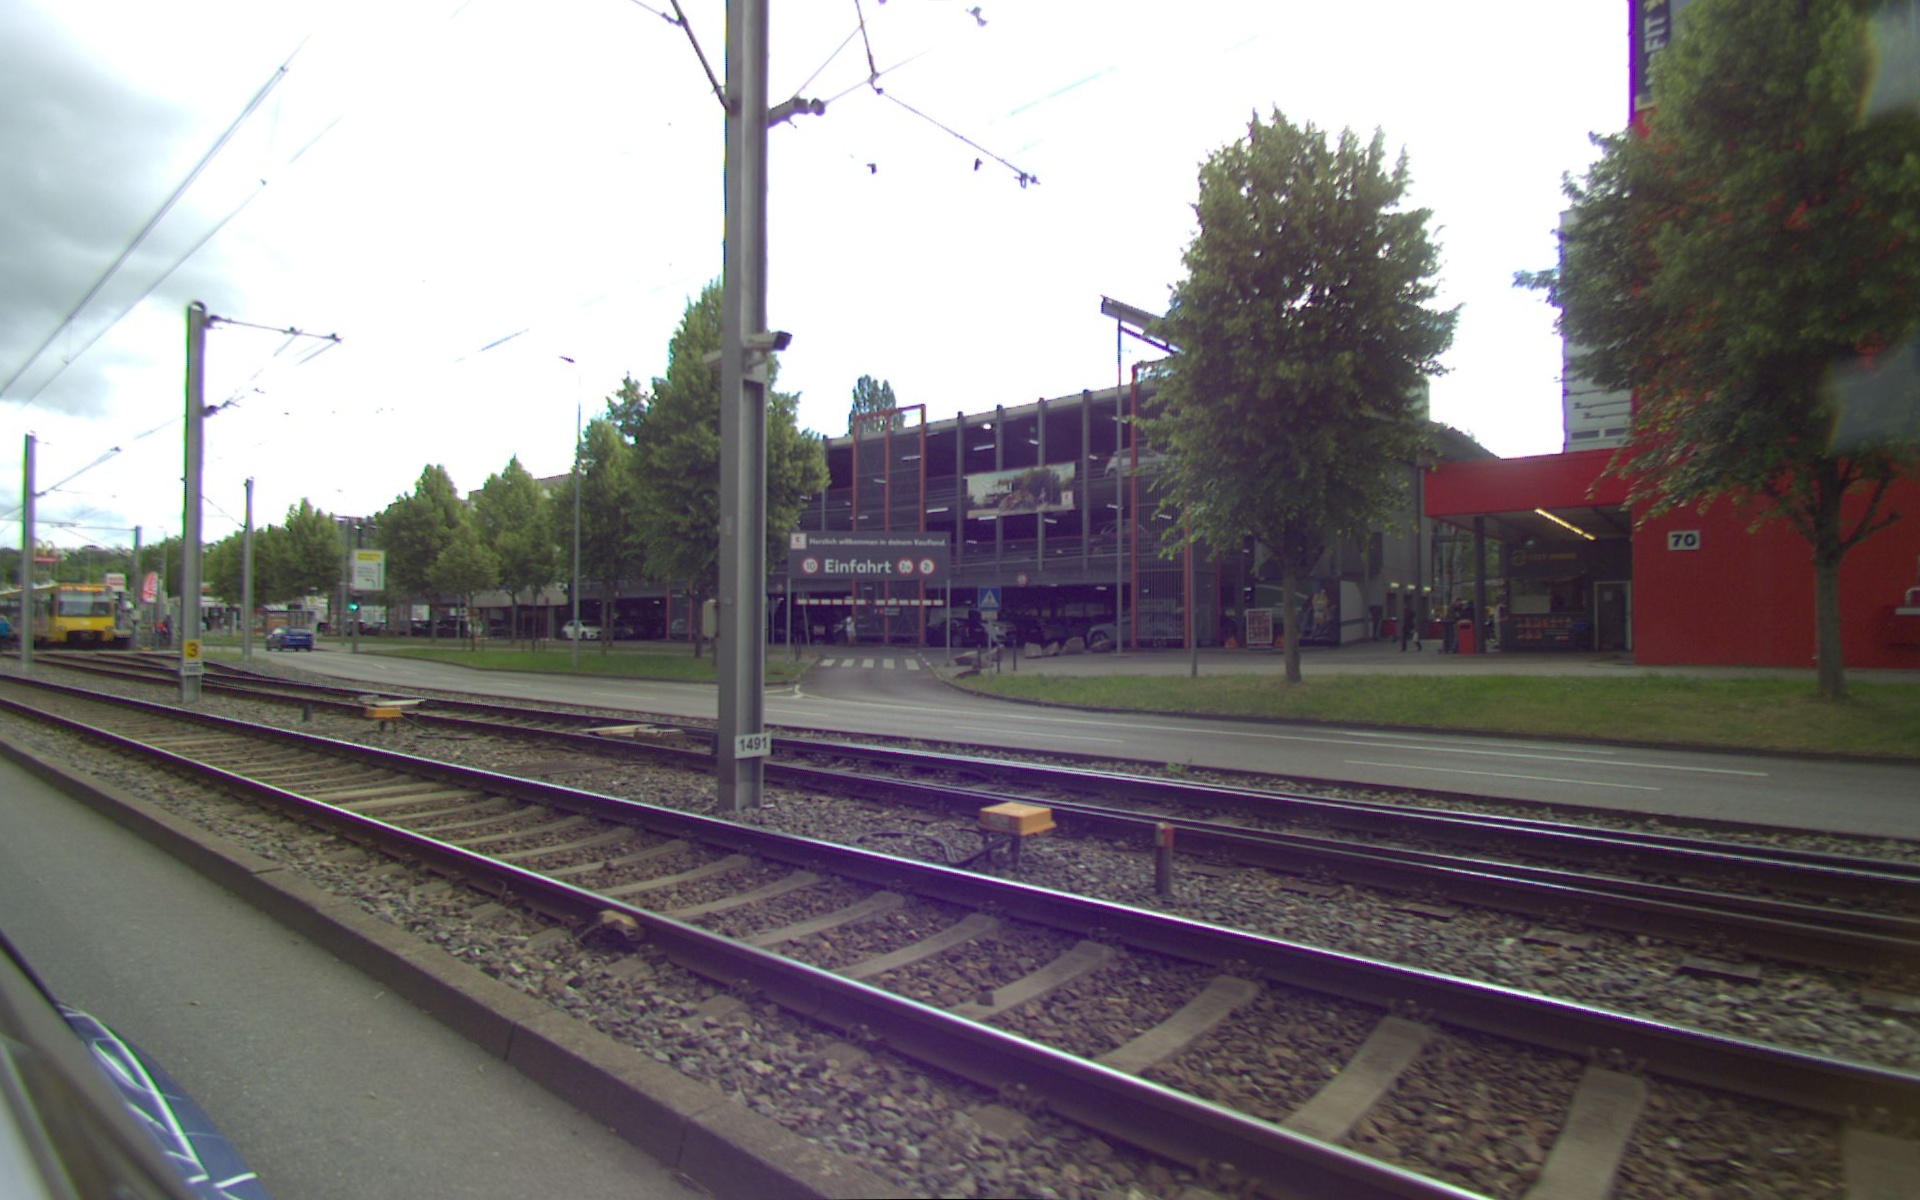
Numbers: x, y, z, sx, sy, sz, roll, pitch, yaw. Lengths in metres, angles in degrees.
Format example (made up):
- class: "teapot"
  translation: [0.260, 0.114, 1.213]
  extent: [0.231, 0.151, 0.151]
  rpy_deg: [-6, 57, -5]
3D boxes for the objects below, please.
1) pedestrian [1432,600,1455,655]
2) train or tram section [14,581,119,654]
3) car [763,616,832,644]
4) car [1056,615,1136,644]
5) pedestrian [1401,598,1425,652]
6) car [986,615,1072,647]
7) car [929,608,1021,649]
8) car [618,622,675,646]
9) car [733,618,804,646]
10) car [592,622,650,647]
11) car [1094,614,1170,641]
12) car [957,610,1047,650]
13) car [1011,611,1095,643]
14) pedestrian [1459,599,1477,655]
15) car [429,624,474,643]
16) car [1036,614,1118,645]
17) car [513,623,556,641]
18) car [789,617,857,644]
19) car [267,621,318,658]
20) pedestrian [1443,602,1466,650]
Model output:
- class: "pedestrian"
  translation: [16.052, 0.924, 33.590]
  extent: [0.597, 1.811, 0.372]
  rpy_deg: [-2, -2, 43]
- class: "train or tram section"
  translation: [-51.128, 1.057, 57.684]
  extent: [13.780, 3.804, 2.742]
  rpy_deg: [-2, -2, 41]
- class: "car"
  translation: [-10.346, 1.865, 64.239]
  extent: [4.402, 1.712, 1.973]
  rpy_deg: [-1, -2, 40]
- class: "car"
  translation: [8.188, 1.774, 61.193]
  extent: [4.402, 1.640, 1.973]
  rpy_deg: [-1, -2, 40]
- class: "pedestrian"
  translation: [16.517, 0.915, 36.893]
  extent: [0.648, 1.941, 0.582]
  rpy_deg: [-1, -1, 10]
- class: "car"
  translation: [3.725, 1.673, 55.235]
  extent: [4.402, 1.662, 1.973]
  rpy_deg: [-1, -2, 40]
- class: "car"
  translation: [0.730, 1.445, 51.412]
  extent: [4.402, 2.029, 1.973]
  rpy_deg: [-1, -2, 40]
- class: "car"
  translation: [-23.121, 2.502, 74.493]
  extent: [4.402, 1.712, 1.973]
  rpy_deg: [-1, -2, 40]
- class: "car"
  translation: [-11.782, 1.926, 62.052]
  extent: [4.402, 1.640, 1.973]
  rpy_deg: [-1, -2, 40]
- class: "car"
  translation: [-24.457, 2.470, 72.957]
  extent: [4.402, 1.712, 1.973]
  rpy_deg: [-1, -2, 40]
- class: "car"
  translation: [10.996, 1.741, 64.719]
  extent: [4.402, 1.640, 1.973]
  rpy_deg: [-1, -2, 40]
- class: "car"
  translation: [2.164, 1.574, 53.056]
  extent: [4.402, 2.029, 1.973]
  rpy_deg: [-1, -2, 40]
- class: "car"
  translation: [5.233, 1.536, 57.176]
  extent: [4.402, 1.731, 1.973]
  rpy_deg: [-1, -2, 40]
- class: "pedestrian"
  translation: [16.603, 0.878, 33.063]
  extent: [0.377, 1.811, 0.589]
  rpy_deg: [-2, -2, 40]
- class: "car"
  translation: [-45.364, 2.969, 90.278]
  extent: [4.402, 1.640, 1.973]
  rpy_deg: [-1, -2, 40]
- class: "car"
  translation: [6.840, 1.704, 59.422]
  extent: [4.402, 1.754, 1.973]
  rpy_deg: [-1, -2, 40]
- class: "car"
  translation: [-40.549, 3.008, 96.485]
  extent: [4.402, 1.640, 1.973]
  rpy_deg: [-1, -2, 40]
- class: "car"
  translation: [-8.964, 1.964, 66.204]
  extent: [4.402, 1.712, 1.973]
  rpy_deg: [-1, -2, 40]
- class: "car"
  translation: [-39.123, 2.285, 59.285]
  extent: [1.969, 2.029, 4.005]
  rpy_deg: [1, -2, -41]
- class: "pedestrian"
  translation: [19.802, 1.042, 40.558]
  extent: [0.648, 1.941, 0.582]
  rpy_deg: [-1, -1, 10]
